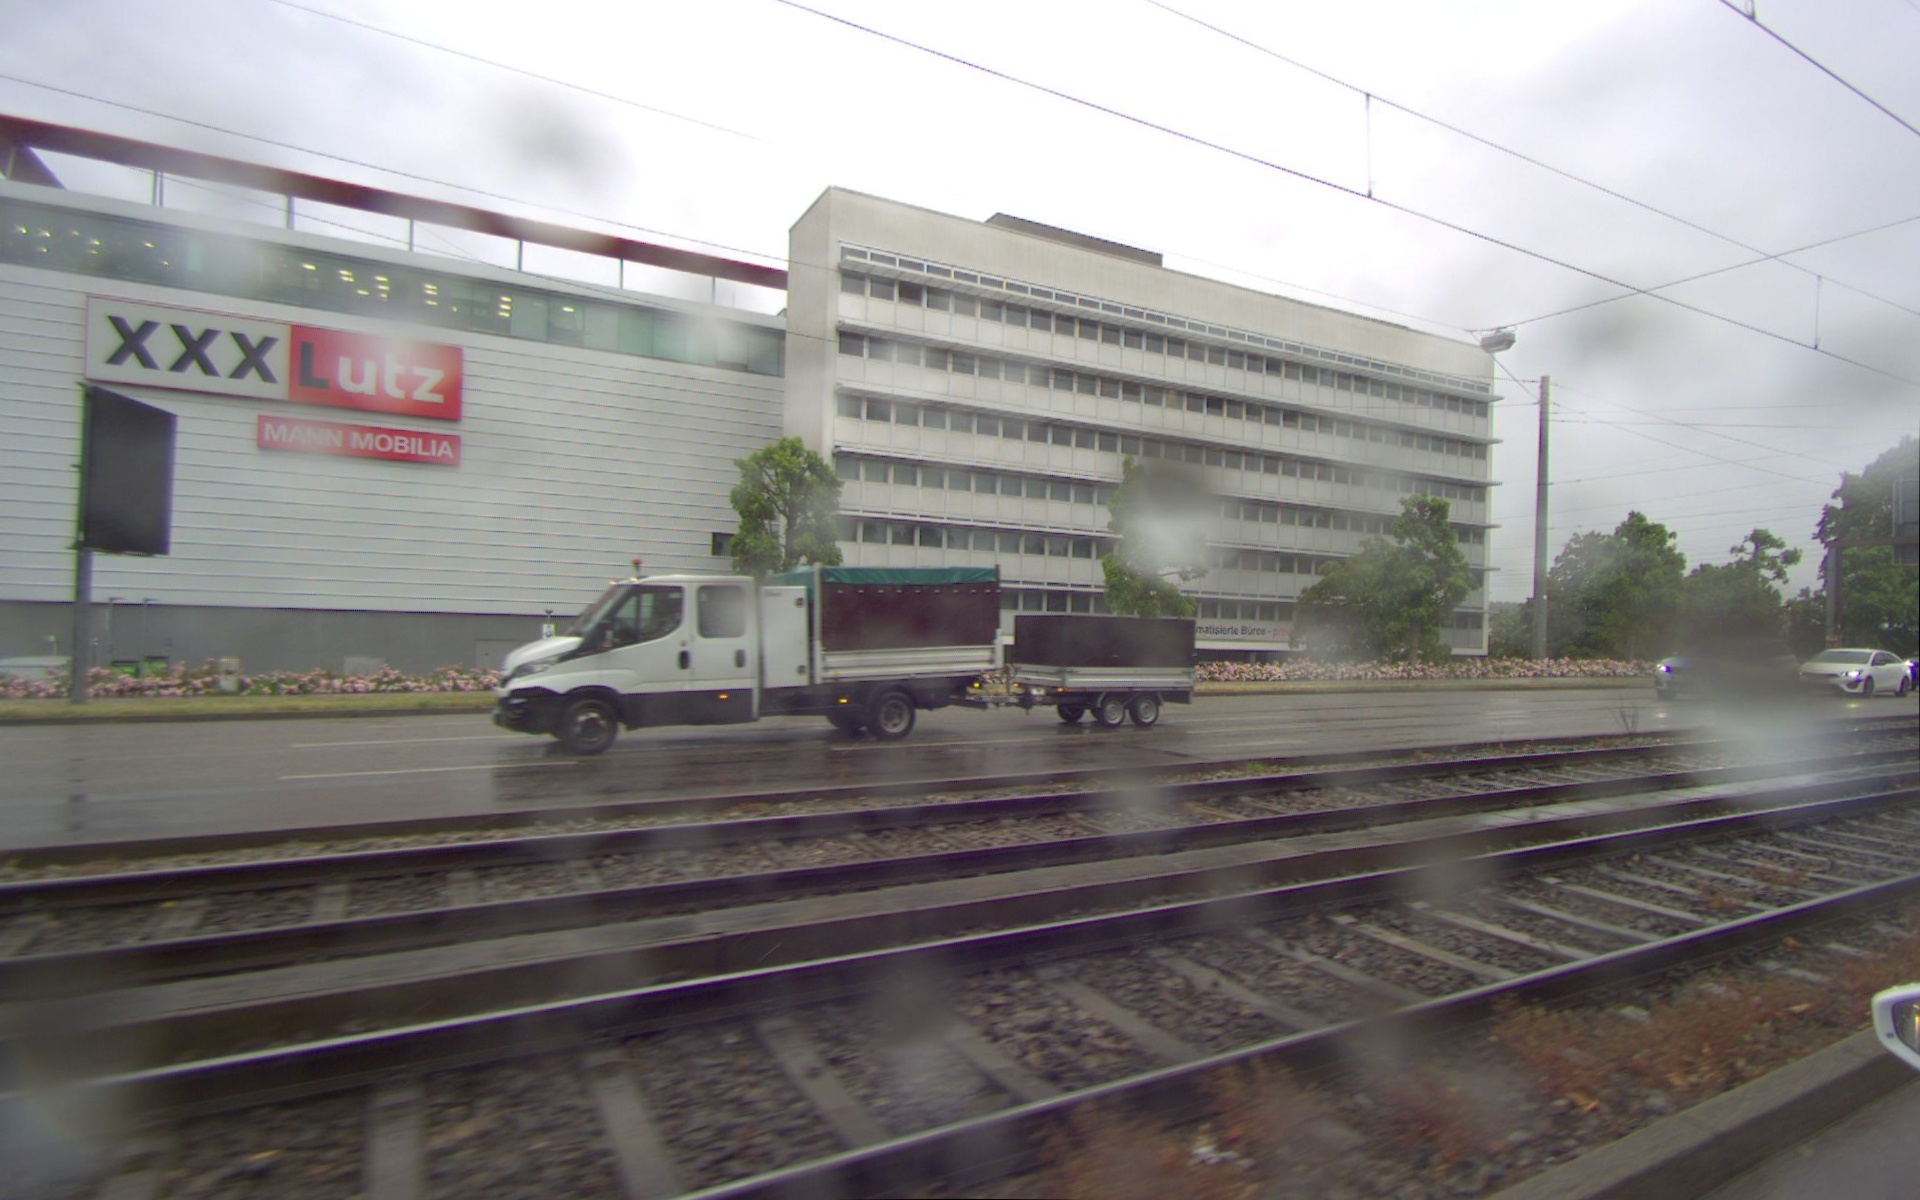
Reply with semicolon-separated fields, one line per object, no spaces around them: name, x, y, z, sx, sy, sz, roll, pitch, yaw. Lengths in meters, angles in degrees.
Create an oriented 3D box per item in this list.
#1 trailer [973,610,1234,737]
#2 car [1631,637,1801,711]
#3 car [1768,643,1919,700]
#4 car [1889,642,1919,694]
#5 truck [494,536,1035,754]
trailer;2.405;1.164;16.848;3.789;1.817;2.110;2;1;-29
car;20.050;1.913;26.597;4.631;1.705;1.764;2;1;-28
car;26.994;2.128;30.624;4.705;1.604;1.986;2;-2;-27
car;34.392;2.350;34.734;4.823;1.744;1.985;2;-2;-29
truck;-2.594;0.650;14.250;7.130;2.490;2.425;2;-2;-29
